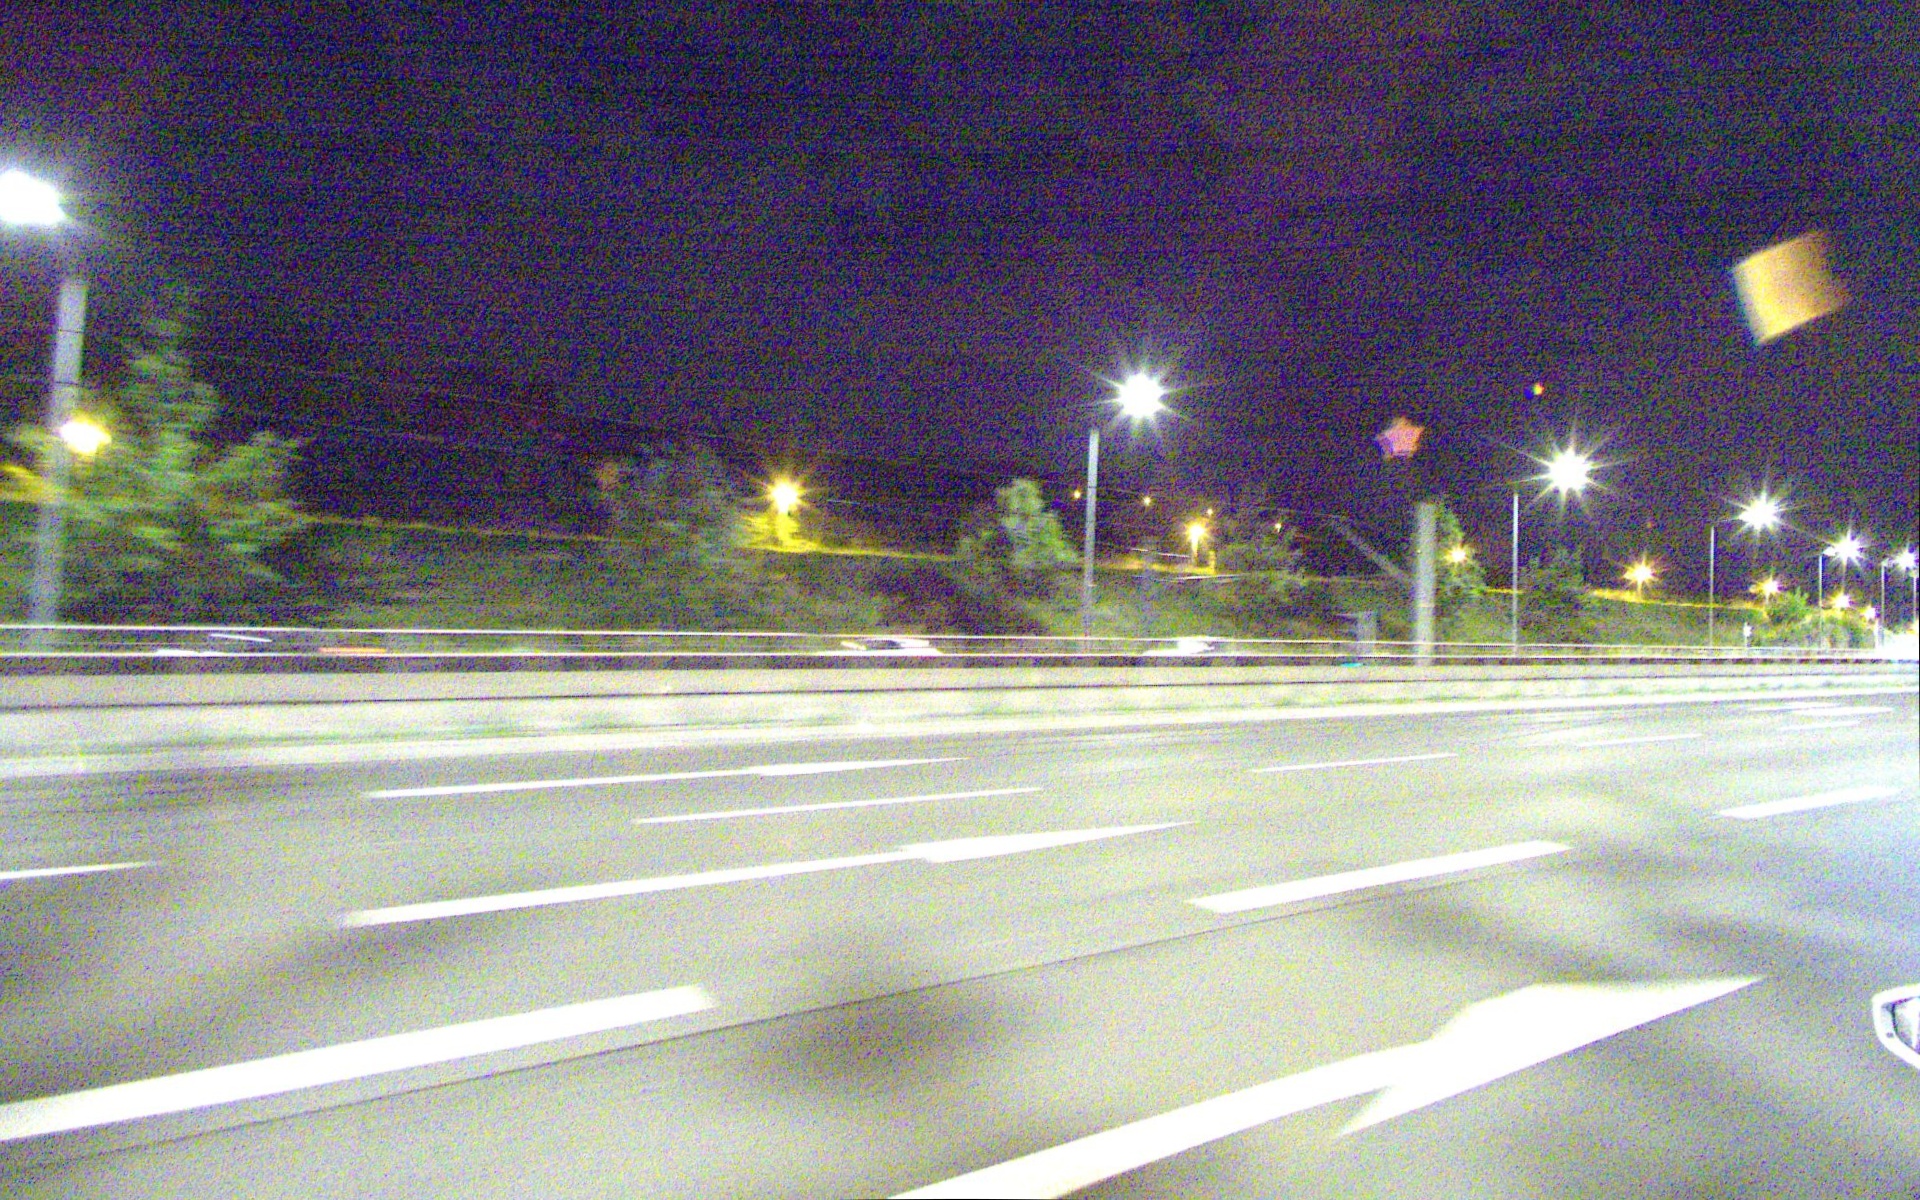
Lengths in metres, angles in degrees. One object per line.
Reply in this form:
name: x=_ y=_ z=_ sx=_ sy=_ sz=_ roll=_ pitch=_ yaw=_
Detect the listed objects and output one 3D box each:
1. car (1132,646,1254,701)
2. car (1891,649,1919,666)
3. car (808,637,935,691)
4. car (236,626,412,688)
car: x=8.094 y=2.516 z=34.823 sx=3.955 sy=1.717 sz=1.791 roll=2 pitch=-1 yaw=-31
car: x=94.016 y=5.730 z=99.461 sx=3.637 sy=1.500 sz=1.617 roll=4 pitch=-2 yaw=-30
car: x=-3.055 y=2.204 z=34.740 sx=3.957 sy=1.707 sz=1.821 roll=3 pitch=-1 yaw=-33
car: x=-14.893 y=1.343 z=23.692 sx=3.354 sy=1.286 sz=1.519 roll=4 pitch=-2 yaw=-32
